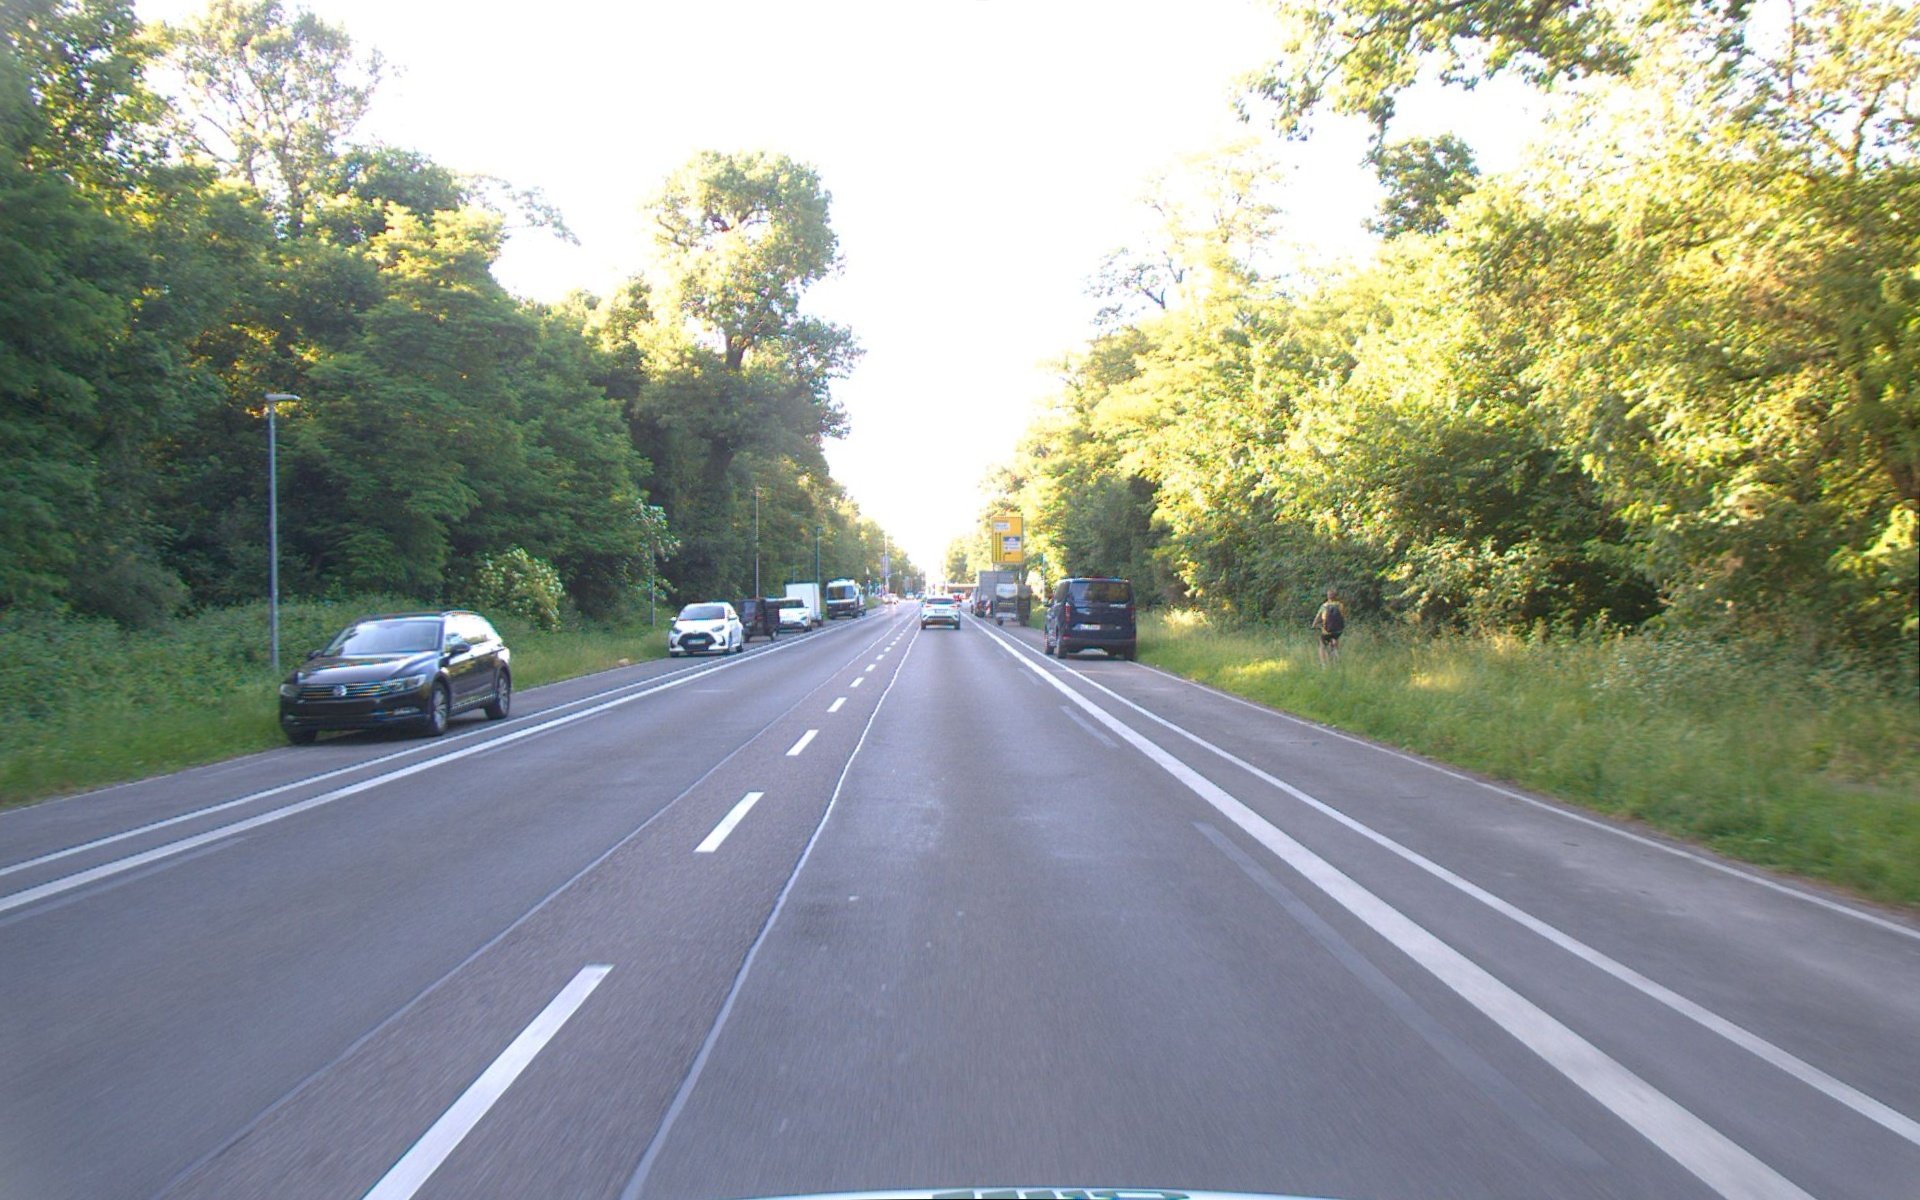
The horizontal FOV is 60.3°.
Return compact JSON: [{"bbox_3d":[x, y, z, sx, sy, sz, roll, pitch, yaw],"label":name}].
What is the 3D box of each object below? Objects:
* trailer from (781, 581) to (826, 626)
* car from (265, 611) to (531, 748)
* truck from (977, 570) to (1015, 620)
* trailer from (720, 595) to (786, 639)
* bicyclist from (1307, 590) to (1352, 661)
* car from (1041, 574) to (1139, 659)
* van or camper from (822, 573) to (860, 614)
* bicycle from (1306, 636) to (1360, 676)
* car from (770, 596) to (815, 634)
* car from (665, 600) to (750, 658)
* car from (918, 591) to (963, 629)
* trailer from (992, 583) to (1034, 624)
[{"bbox_3d":[-8.432,0.192,89.386,2.032,2.333,3.487,-1,0,1],"label":"trailer"},{"bbox_3d":[-6.998,0.913,21.167,1.817,1.490,4.783,-1,0,-1],"label":"car"},{"bbox_3d":[2.511,-0.345,116.978,2.454,3.425,7.106,1,0,0],"label":"truck"},{"bbox_3d":[-7.624,0.609,61.108,1.366,1.601,2.675,-1,0,19],"label":"trailer"},{"bbox_3d":[7.179,0.480,32.159,0.598,1.348,1.175,0,0,-1],"label":"bicyclist"},{"bbox_3d":[3.306,0.397,43.113,2.070,2.049,5.039,2,0,-1],"label":"car"},{"bbox_3d":[-8.609,-0.487,120.034,2.255,2.816,5.556,-3,0,-1],"label":"van or camper"},{"bbox_3d":[7.230,1.076,32.164,0.579,0.704,1.996,0,0,-1],"label":"bicycle"},{"bbox_3d":[-7.630,0.641,75.759,1.778,1.599,4.204,-3,0,-3],"label":"car"},{"bbox_3d":[-7.257,0.806,47.858,1.829,1.476,4.070,-3,0,-1],"label":"car"},{"bbox_3d":[-0.899,0.457,75.696,1.953,1.668,3.999,-1,0,-1],"label":"car"},{"bbox_3d":[2.819,0.190,87.258,1.580,2.149,2.397,0,0,20],"label":"trailer"}]
